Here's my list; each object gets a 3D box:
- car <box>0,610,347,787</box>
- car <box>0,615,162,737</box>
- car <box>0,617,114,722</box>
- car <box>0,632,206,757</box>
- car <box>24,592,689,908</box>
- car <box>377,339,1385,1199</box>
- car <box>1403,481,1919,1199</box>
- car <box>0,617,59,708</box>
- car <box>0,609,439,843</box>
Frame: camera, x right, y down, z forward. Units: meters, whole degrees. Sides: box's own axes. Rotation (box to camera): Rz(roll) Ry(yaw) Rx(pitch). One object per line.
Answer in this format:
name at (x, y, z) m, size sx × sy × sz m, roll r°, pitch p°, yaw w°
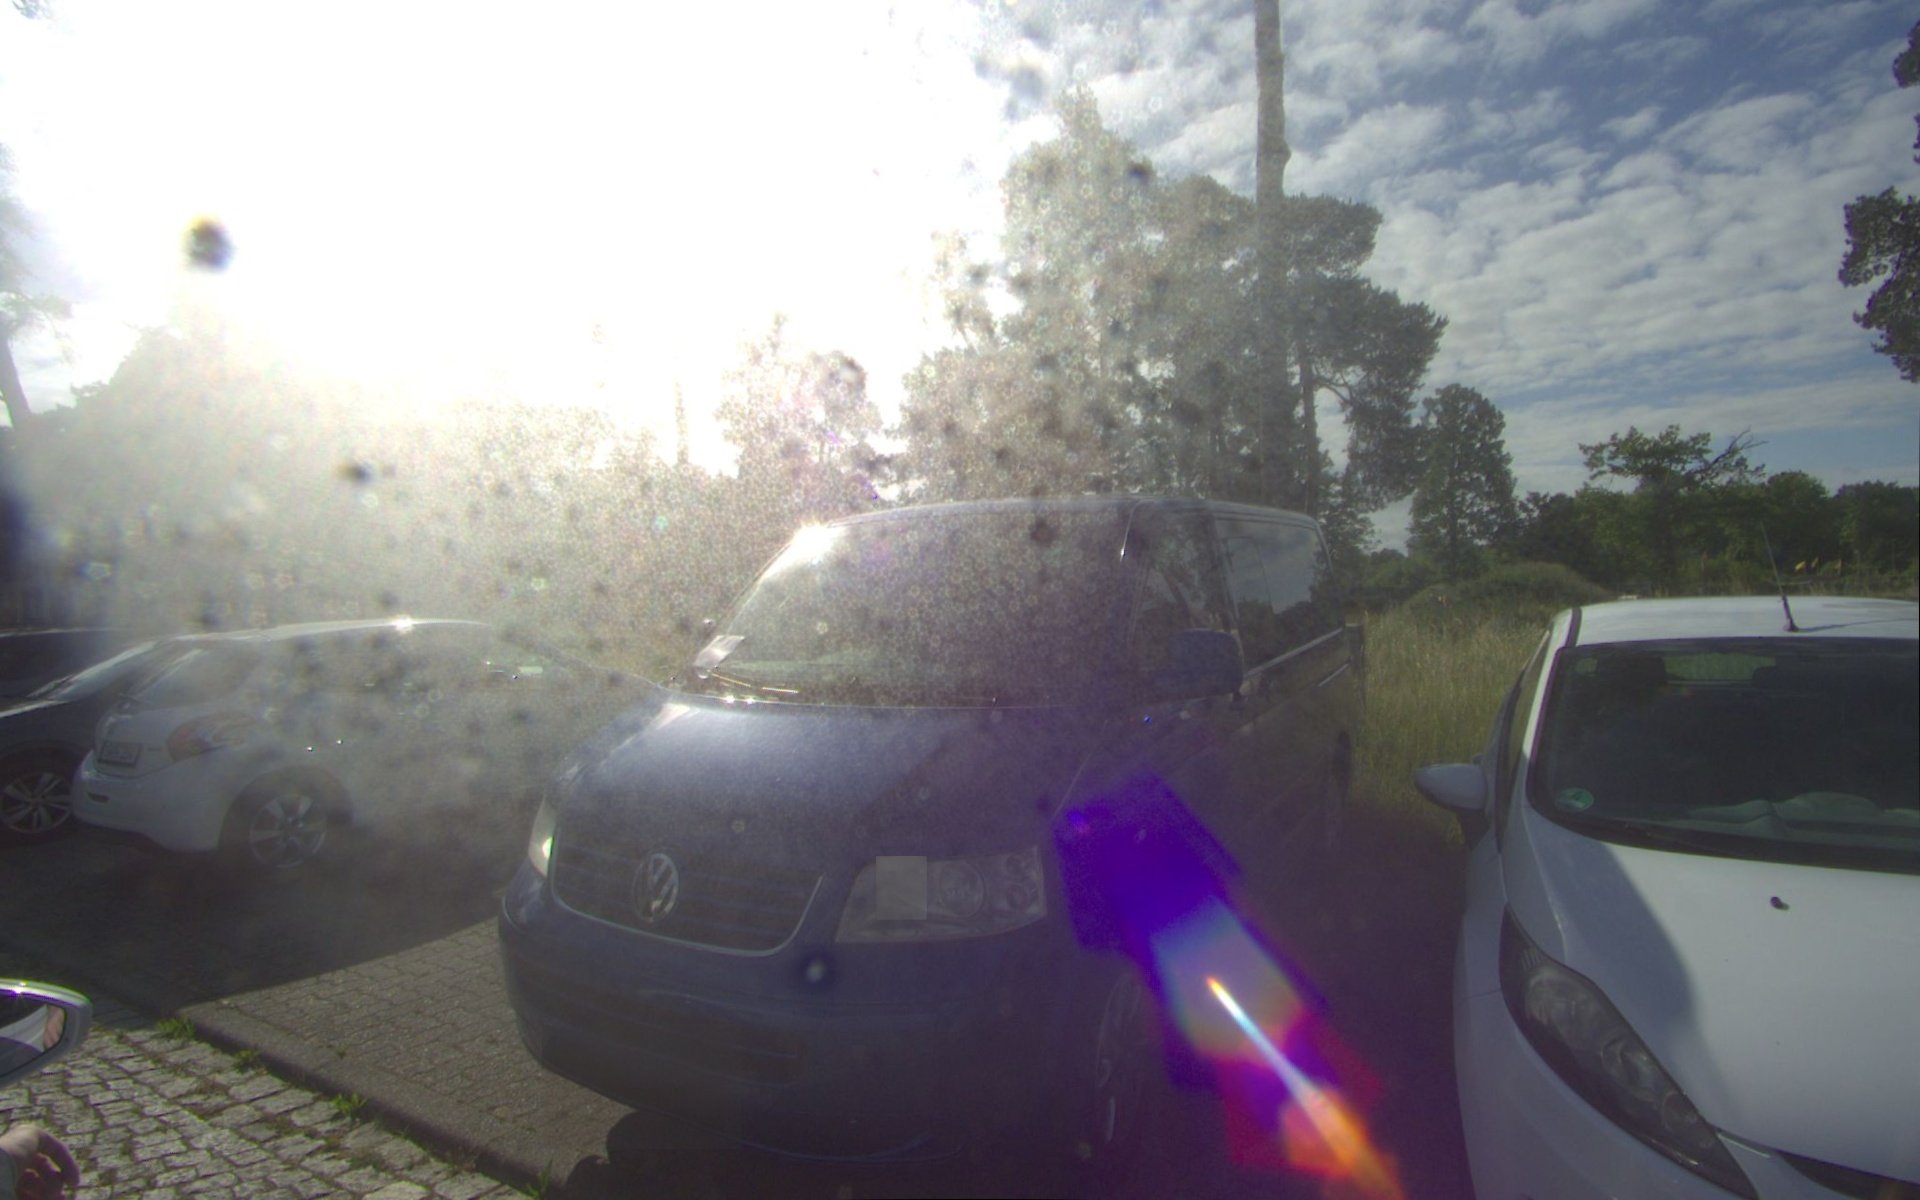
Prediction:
car at (-8.759, 0.910, 10.342) m, size 1.790 × 1.469 × 3.699 m, roll 0°, pitch 2°, yaw 31°
car at (-13.038, 1.017, 12.791) m, size 1.613 × 1.469 × 4.117 m, roll 0°, pitch 2°, yaw 32°
car at (-14.811, 1.050, 13.823) m, size 1.755 × 1.434 × 4.421 m, roll 0°, pitch 2°, yaw 32°
car at (-11.130, 1.092, 11.374) m, size 1.721 × 1.240 × 3.698 m, roll -1°, pitch 2°, yaw 32°
car at (-3.986, 0.781, 7.239) m, size 1.736 × 1.555 × 3.698 m, roll 0°, pitch 2°, yaw 32°
car at (0.425, 0.468, 4.343) m, size 1.971 × 1.961 × 4.688 m, roll -1°, pitch 1°, yaw 31°
car at (2.833, 0.543, 3.382) m, size 1.911 × 1.598 × 4.388 m, roll -1°, pitch 1°, yaw 31°
car at (-17.042, 1.087, 15.306) m, size 1.613 × 1.434 × 4.548 m, roll 0°, pitch 2°, yaw 32°
car at (-6.671, 0.888, 8.335) m, size 1.829 × 1.469 × 3.698 m, roll 0°, pitch 2°, yaw 32°
